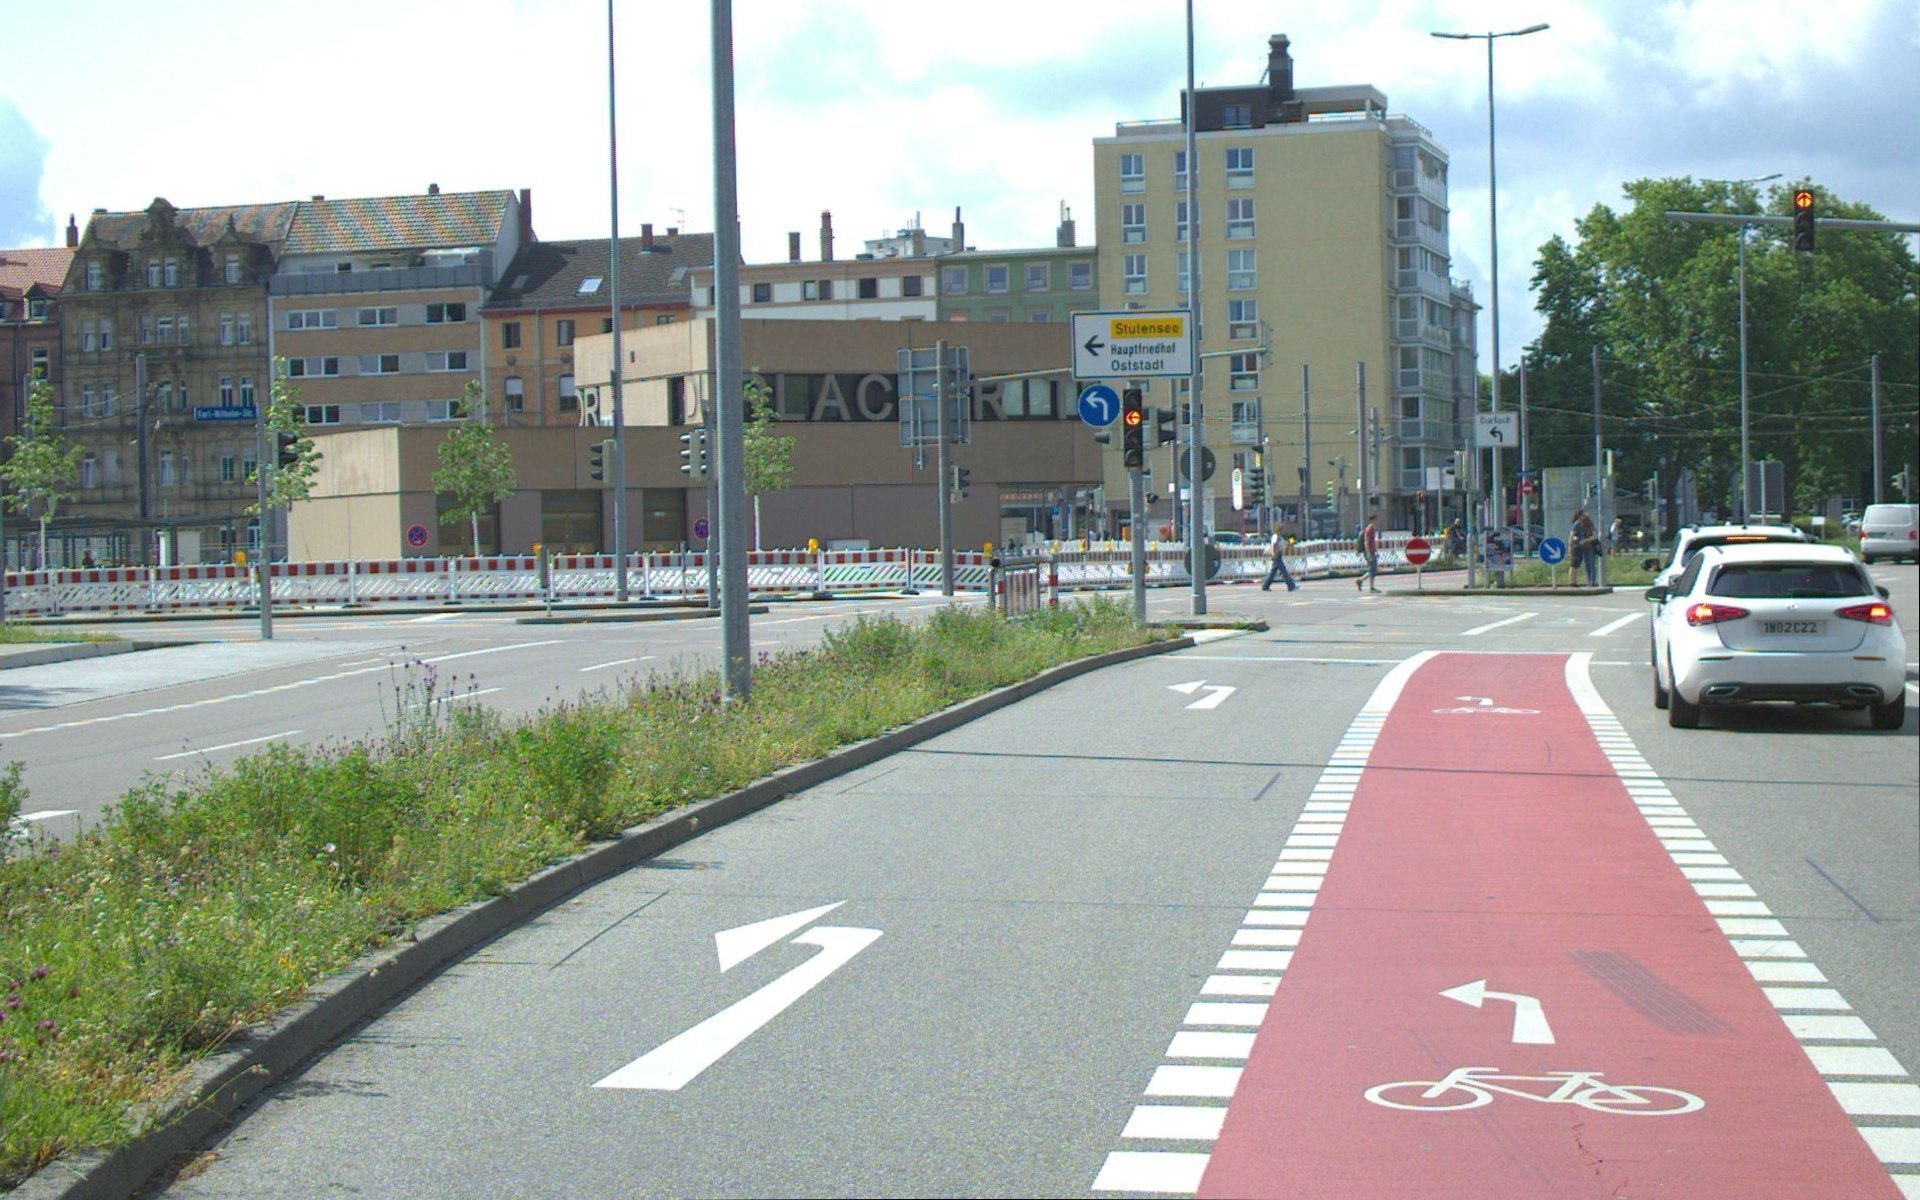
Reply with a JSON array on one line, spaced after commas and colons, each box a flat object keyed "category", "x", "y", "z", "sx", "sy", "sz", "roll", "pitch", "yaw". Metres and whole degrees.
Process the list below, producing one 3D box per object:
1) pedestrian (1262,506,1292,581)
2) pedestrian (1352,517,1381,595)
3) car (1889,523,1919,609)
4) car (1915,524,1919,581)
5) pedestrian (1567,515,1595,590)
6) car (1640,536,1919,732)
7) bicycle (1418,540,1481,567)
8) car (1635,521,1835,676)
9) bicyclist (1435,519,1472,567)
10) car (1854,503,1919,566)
[{"category": "pedestrian", "x": 7.308, "y": -1.308, "z": 79.288, "sx": 0.525, "sy": 1.727, "sz": 0.623, "roll": -1, "pitch": 1, "yaw": 18}, {"category": "pedestrian", "x": 9.170, "y": -0.996, "z": 77.587, "sx": 0.525, "sy": 1.727, "sz": 0.623, "roll": -1, "pitch": 1, "yaw": 18}, {"category": "car", "x": 22.019, "y": -0.672, "z": 73.756, "sx": 3.988, "sy": 1.809, "sz": 2.000, "roll": 1, "pitch": 1, "yaw": -38}, {"category": "car", "x": 34.811, "y": -1.691, "z": 119.182, "sx": 1.995, "sy": 1.932, "sz": 4.630, "roll": -1, "pitch": 1, "yaw": 33}, {"category": "pedestrian", "x": 14.063, "y": -1.085, "z": 77.830, "sx": 0.525, "sy": 1.678, "sz": 0.623, "roll": -1, "pitch": 1, "yaw": 18}, {"category": "car", "x": 6.618, "y": 0.223, "z": 28.090, "sx": 1.904, "sy": 1.419, "sz": 4.383, "roll": -1, "pitch": 1, "yaw": 9}, {"category": "bicycle", "x": 19.885, "y": -1.903, "z": 139.685, "sx": 2.382, "sy": 1.063, "sz": 0.857, "roll": 0, "pitch": 1, "yaw": 29}, {"category": "car", "x": 8.173, "y": -0.062, "z": 36.539, "sx": 1.791, "sy": 1.534, "sz": 4.010, "roll": 1, "pitch": 2, "yaw": 9}, {"category": "bicyclist", "x": 20.037, "y": -2.323, "z": 139.588, "sx": 1.221, "sy": 1.903, "sz": 0.857, "roll": 0, "pitch": 1, "yaw": 29}, {"category": "car", "x": 30.829, "y": -2.152, "z": 111.893, "sx": 2.009, "sy": 1.960, "sz": 4.630, "roll": -1, "pitch": 1, "yaw": 33}]
